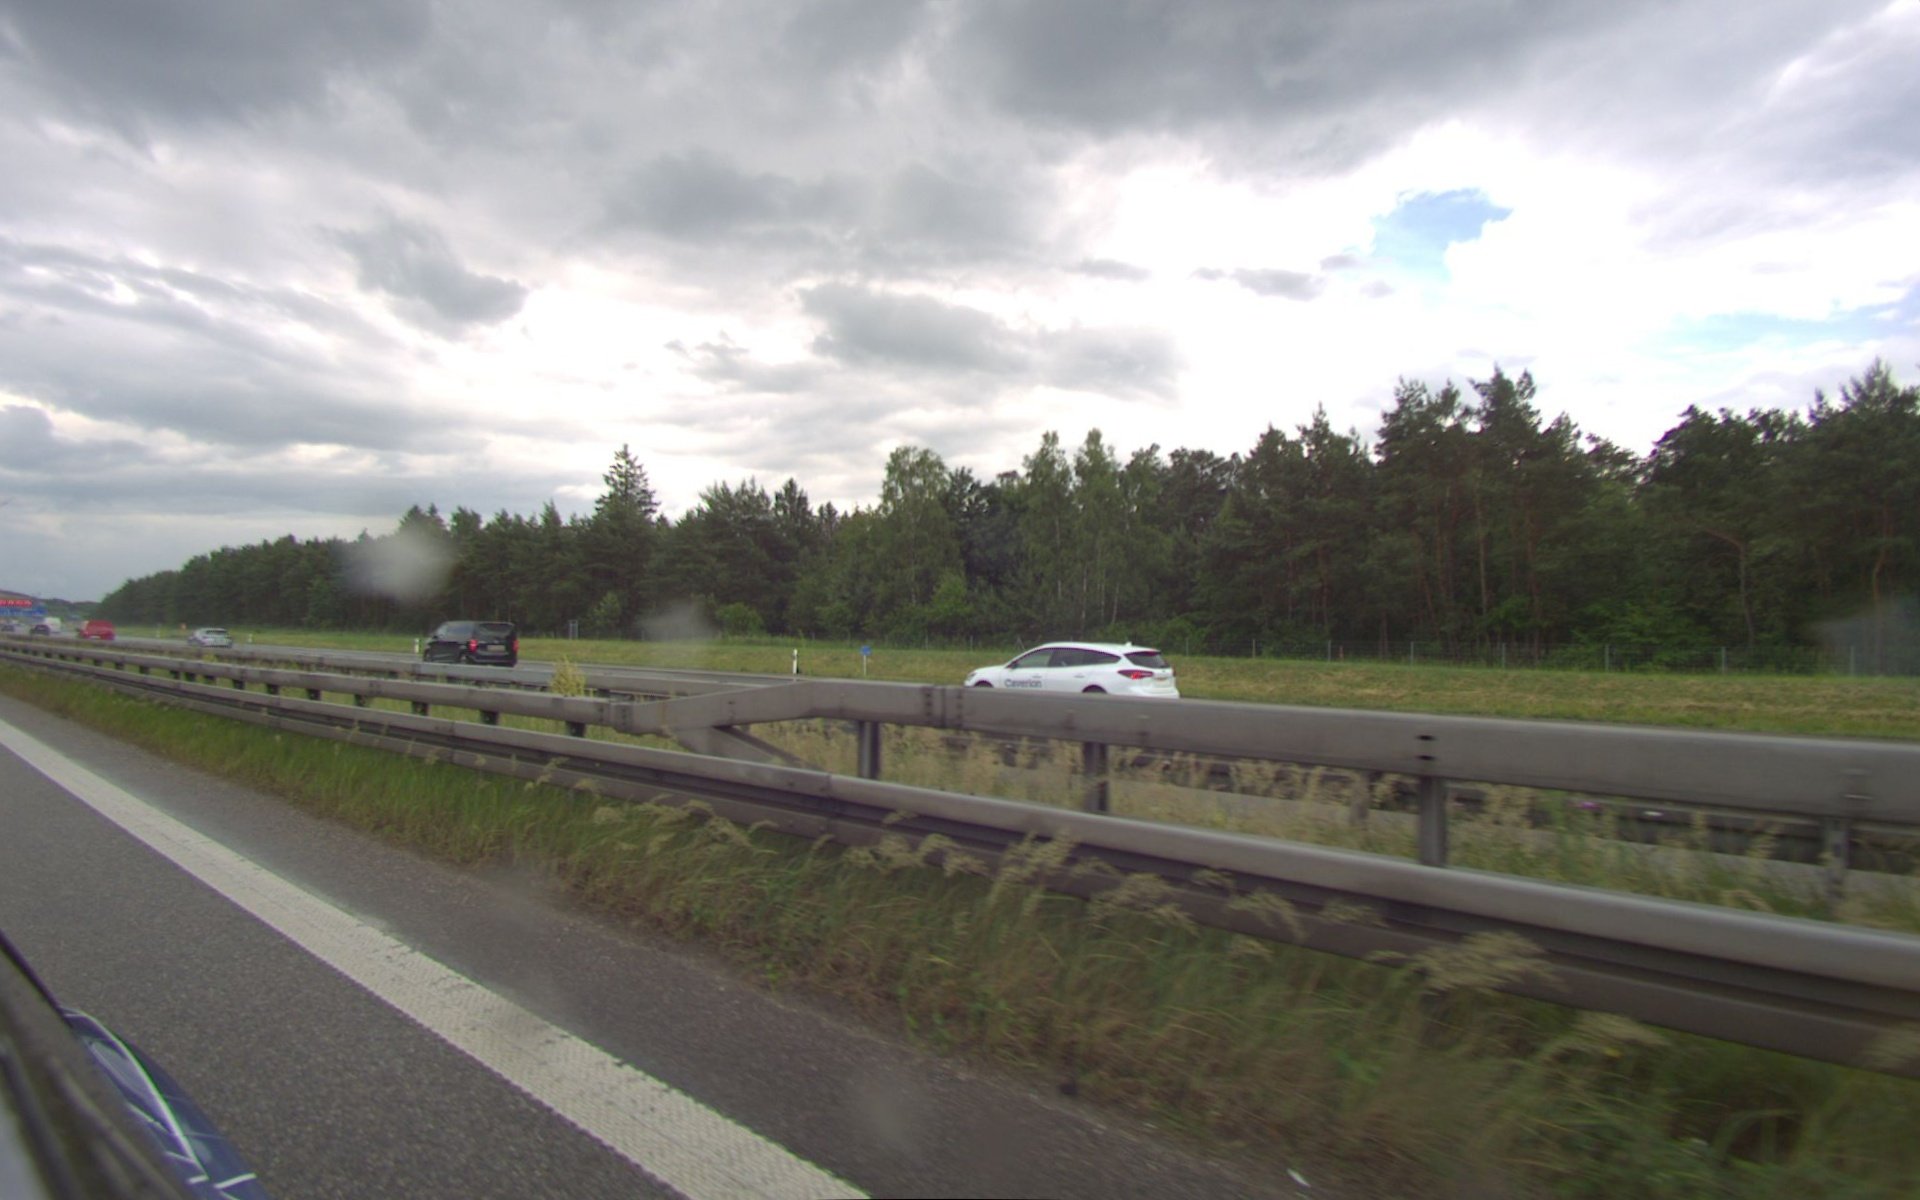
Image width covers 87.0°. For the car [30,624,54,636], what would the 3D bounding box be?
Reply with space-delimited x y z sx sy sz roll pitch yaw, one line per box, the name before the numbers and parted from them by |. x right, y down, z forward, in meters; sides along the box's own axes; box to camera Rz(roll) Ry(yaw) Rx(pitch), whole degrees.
car | -121.435 3.975 133.814 3.998 1.483 1.855 -1 -3 41

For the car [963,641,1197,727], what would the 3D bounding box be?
car | 2.287 1.578 19.969 4.318 1.456 1.830 -1 -3 40

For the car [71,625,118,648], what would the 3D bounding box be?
car | -62.483 2.599 73.054 4.607 1.621 1.972 -1 -1 42

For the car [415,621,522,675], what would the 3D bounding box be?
car | -18.919 1.816 38.883 4.722 1.931 1.972 -1 -4 41

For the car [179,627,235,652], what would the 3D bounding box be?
car | -48.774 2.571 65.560 4.607 1.512 1.972 -1 -4 42

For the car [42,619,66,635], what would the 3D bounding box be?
car | -145.278 4.370 162.241 6.583 2.530 2.075 -1 -4 43
